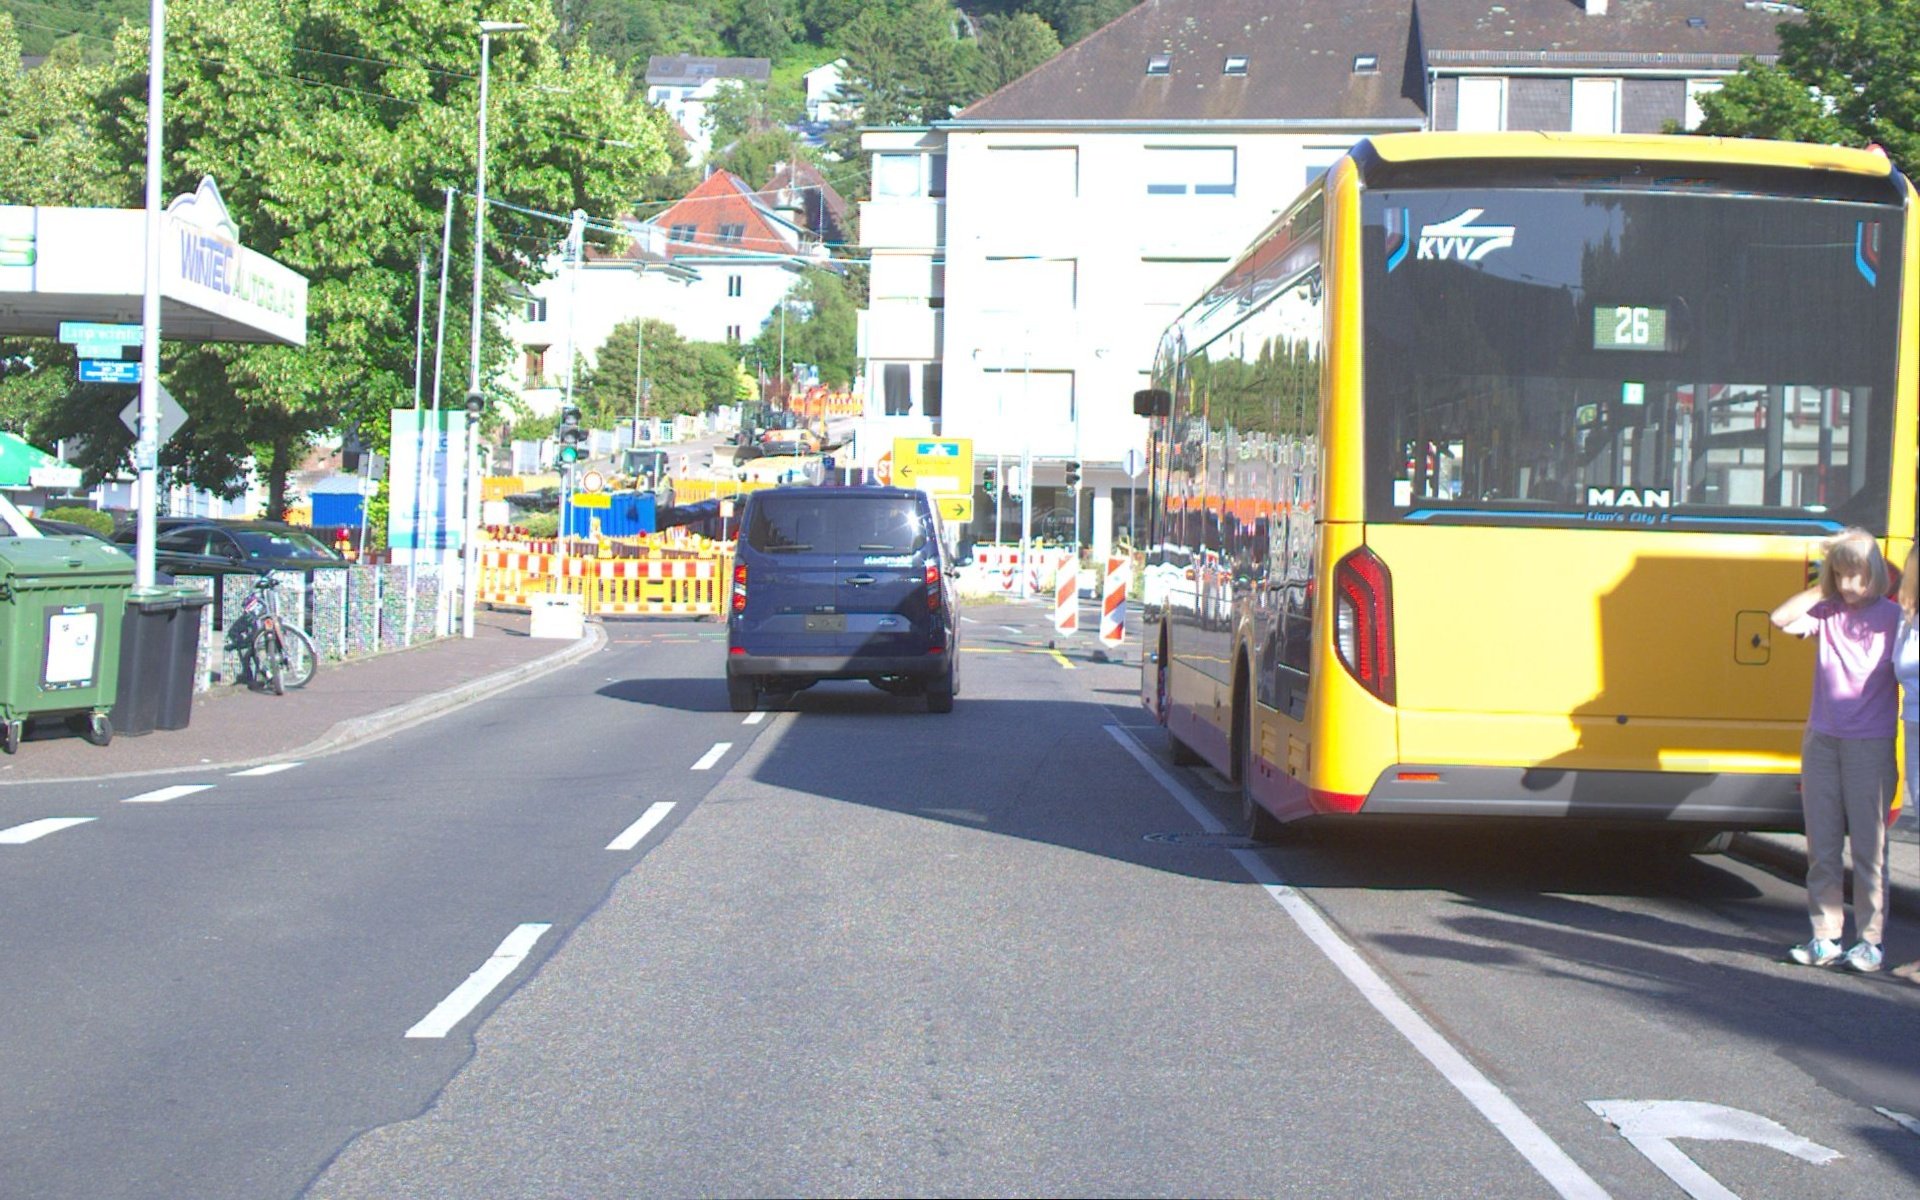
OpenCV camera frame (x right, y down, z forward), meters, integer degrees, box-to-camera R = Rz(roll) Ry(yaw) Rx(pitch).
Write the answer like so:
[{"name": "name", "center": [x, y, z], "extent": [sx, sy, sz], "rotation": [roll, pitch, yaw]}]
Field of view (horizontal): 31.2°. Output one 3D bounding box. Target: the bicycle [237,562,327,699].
[{"name": "bicycle", "center": [-6.080, 0.255, 30.884], "extent": [0.723, 1.174, 1.781], "rotation": [1, 1, -10]}]

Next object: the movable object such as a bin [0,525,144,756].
[{"name": "movable object such as a bin", "center": [-6.561, 0.256, 24.050], "extent": [1.056, 1.477, 1.310], "rotation": [3, 4, 28]}]

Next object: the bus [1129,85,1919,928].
[{"name": "bus", "center": [2.707, -0.500, 20.120], "extent": [2.688, 3.404, 12.019], "rotation": [1, 1, 0]}]

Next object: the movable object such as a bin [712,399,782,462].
[{"name": "movable object such as a bin", "center": [-9.661, -7.686, 156.178], "extent": [2.192, 2.681, 3.998], "rotation": [1, 1, 11]}]

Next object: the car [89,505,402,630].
[{"name": "car", "center": [-9.413, -0.441, 45.118], "extent": [4.310, 1.449, 1.906], "rotation": [4, 2, 45]}]

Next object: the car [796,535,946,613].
[{"name": "car", "center": [-1.695, -0.504, 64.189], "extent": [1.793, 1.405, 4.001], "rotation": [1, 1, -17]}]

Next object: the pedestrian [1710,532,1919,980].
[{"name": "pedestrian", "center": [3.235, 0.560, 12.792], "extent": [0.544, 1.607, 0.636], "rotation": [1, 1, -38]}]

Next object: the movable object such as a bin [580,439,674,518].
[{"name": "movable object such as a bin", "center": [-11.767, -4.266, 121.695], "extent": [2.192, 2.681, 3.998], "rotation": [1, 1, 11]}]

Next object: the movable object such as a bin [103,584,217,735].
[{"name": "movable object such as a bin", "center": [-5.977, 0.437, 25.692], "extent": [0.640, 1.065, 0.580], "rotation": [2, 4, 12]}]

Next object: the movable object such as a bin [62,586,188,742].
[{"name": "movable object such as a bin", "center": [-6.090, 0.459, 25.087], "extent": [0.660, 1.059, 0.585], "rotation": [4, 3, 12]}]

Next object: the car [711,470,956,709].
[{"name": "car", "center": [-1.087, -0.116, 31.478], "extent": [2.062, 2.007, 5.000], "rotation": [0, 1, -1]}]

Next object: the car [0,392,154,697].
[{"name": "car", "center": [-9.429, -0.523, 28.435], "extent": [5.054, 2.461, 2.109], "rotation": [2, 1, -22]}]

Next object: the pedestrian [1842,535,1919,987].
[{"name": "pedestrian", "center": [3.606, 0.575, 12.445], "extent": [0.544, 1.607, 0.549], "rotation": [1, 1, -38]}]
